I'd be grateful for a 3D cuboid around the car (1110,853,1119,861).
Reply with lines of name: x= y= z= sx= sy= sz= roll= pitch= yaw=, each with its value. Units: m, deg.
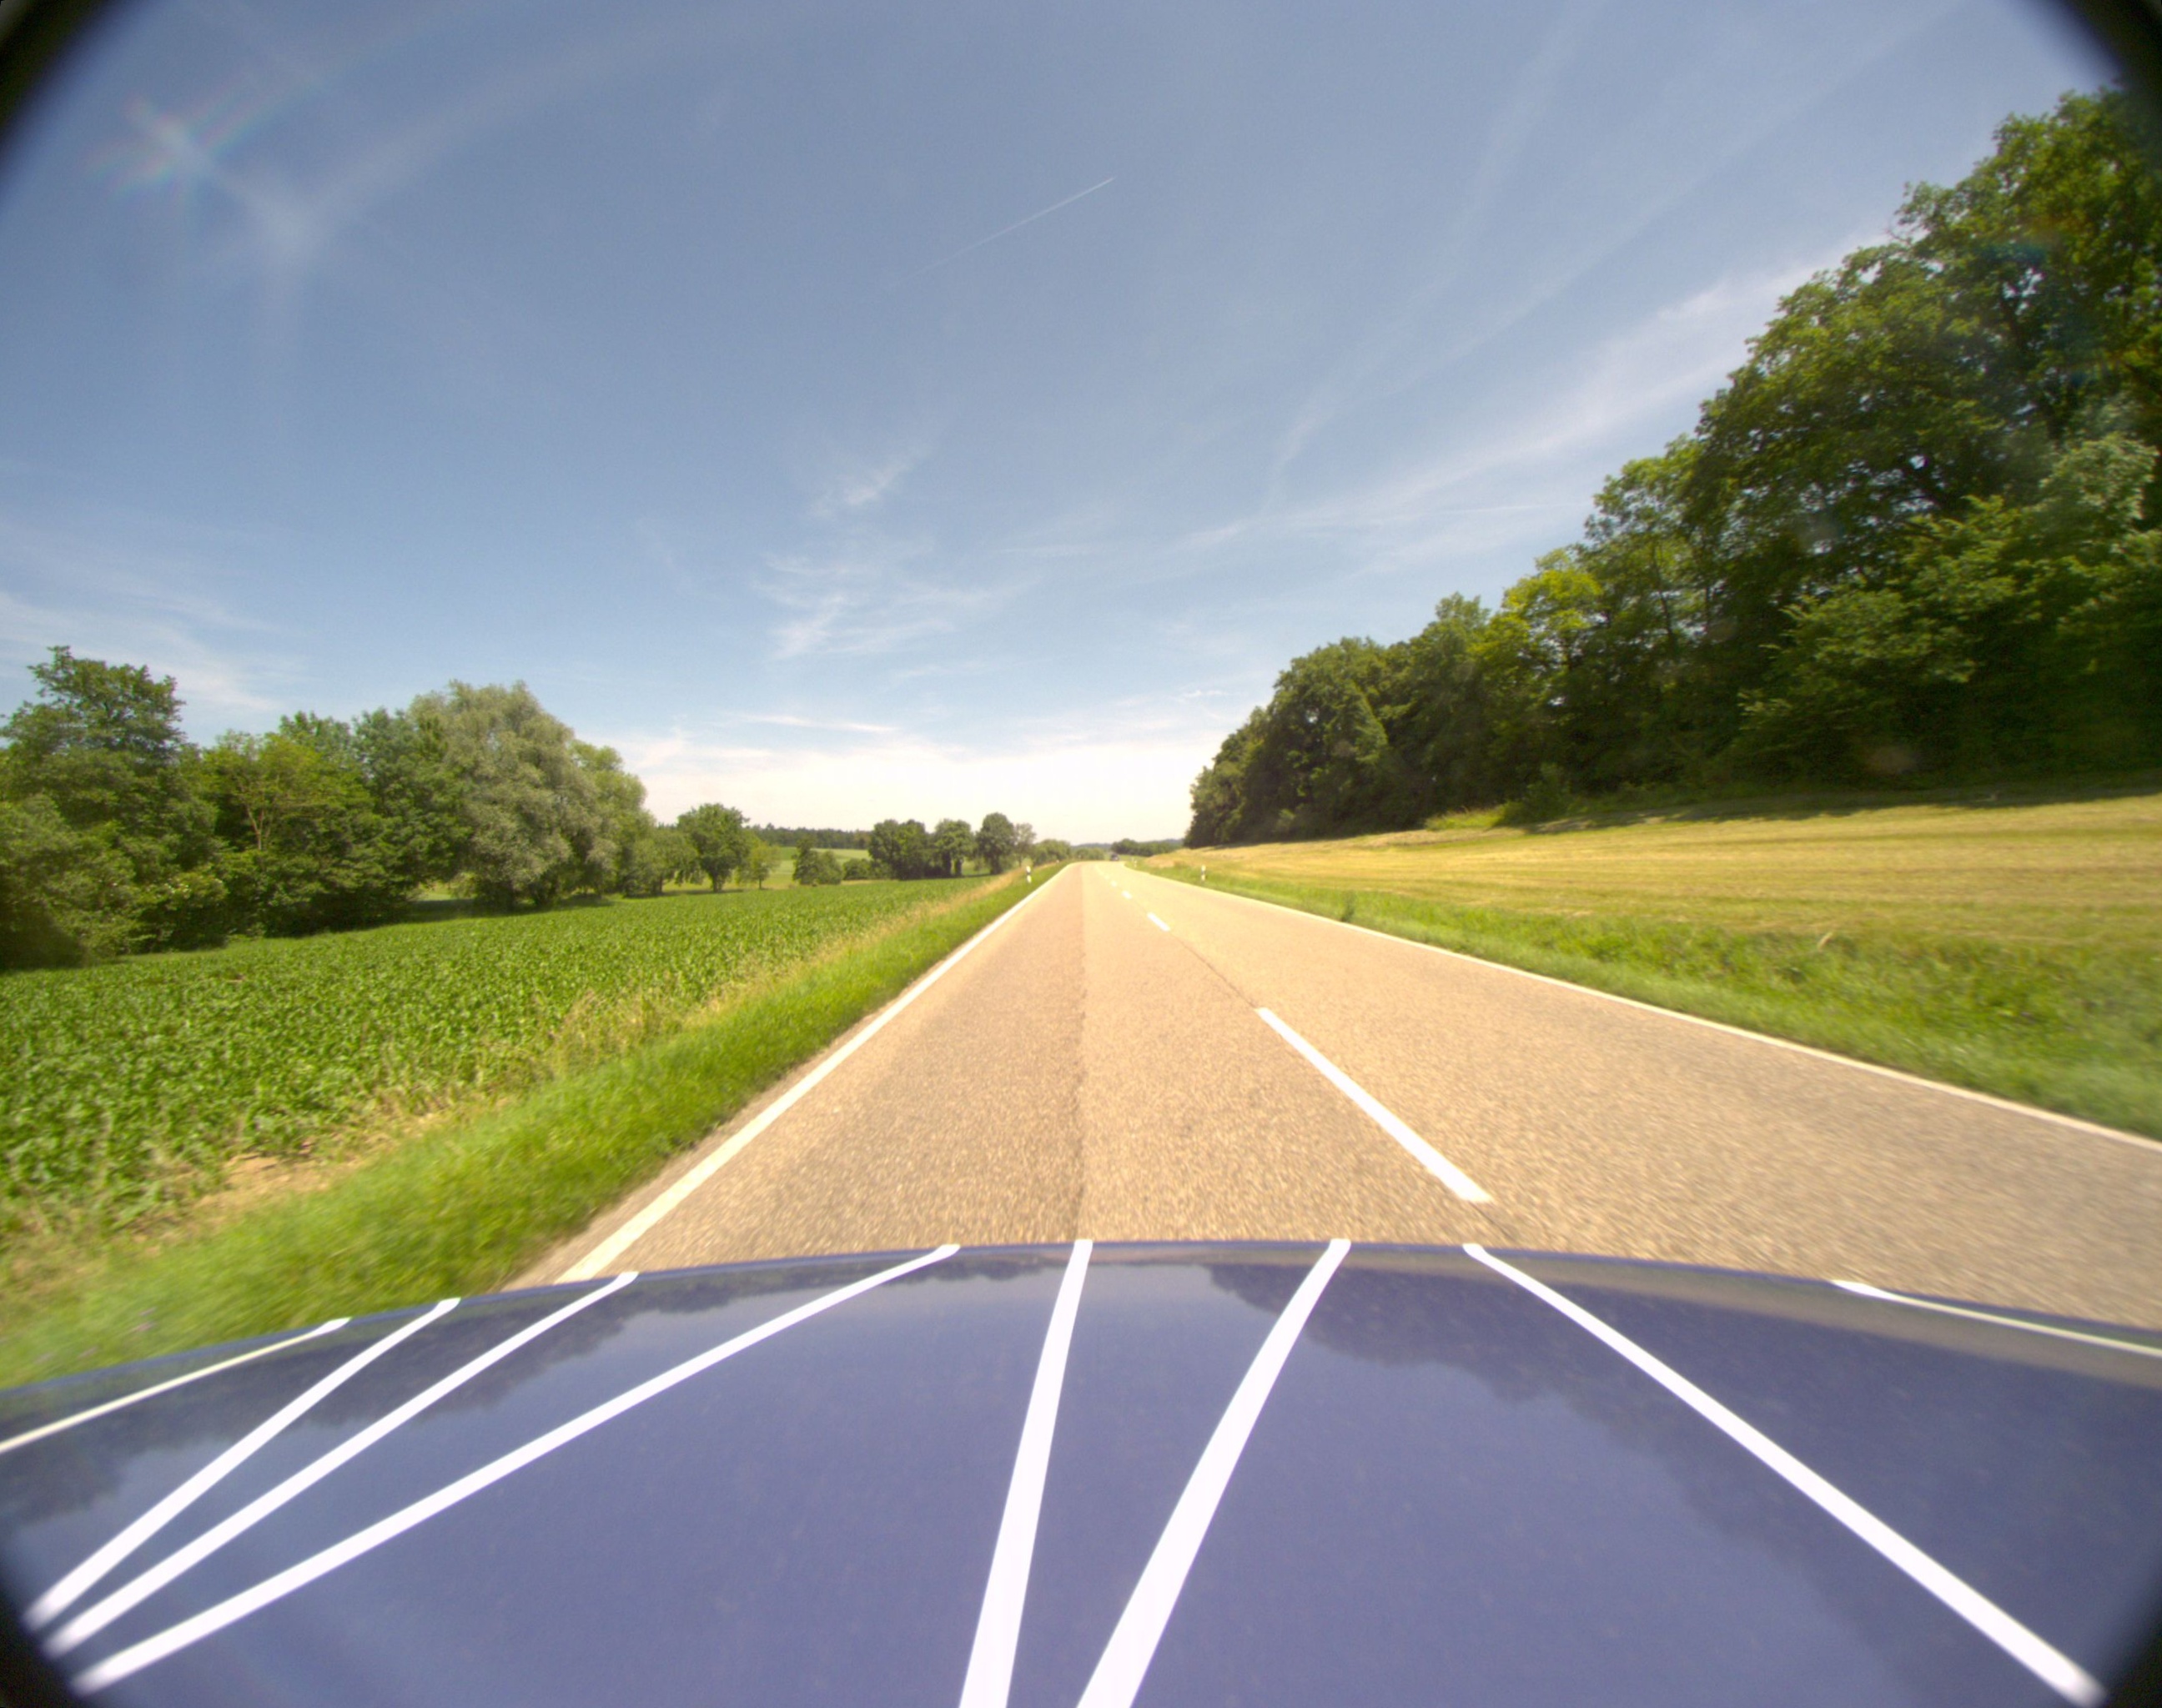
car: x=7.428 y=0.679 z=168.719 sx=1.815 sy=1.569 sz=4.157 roll=-3 pitch=-3 yaw=5
